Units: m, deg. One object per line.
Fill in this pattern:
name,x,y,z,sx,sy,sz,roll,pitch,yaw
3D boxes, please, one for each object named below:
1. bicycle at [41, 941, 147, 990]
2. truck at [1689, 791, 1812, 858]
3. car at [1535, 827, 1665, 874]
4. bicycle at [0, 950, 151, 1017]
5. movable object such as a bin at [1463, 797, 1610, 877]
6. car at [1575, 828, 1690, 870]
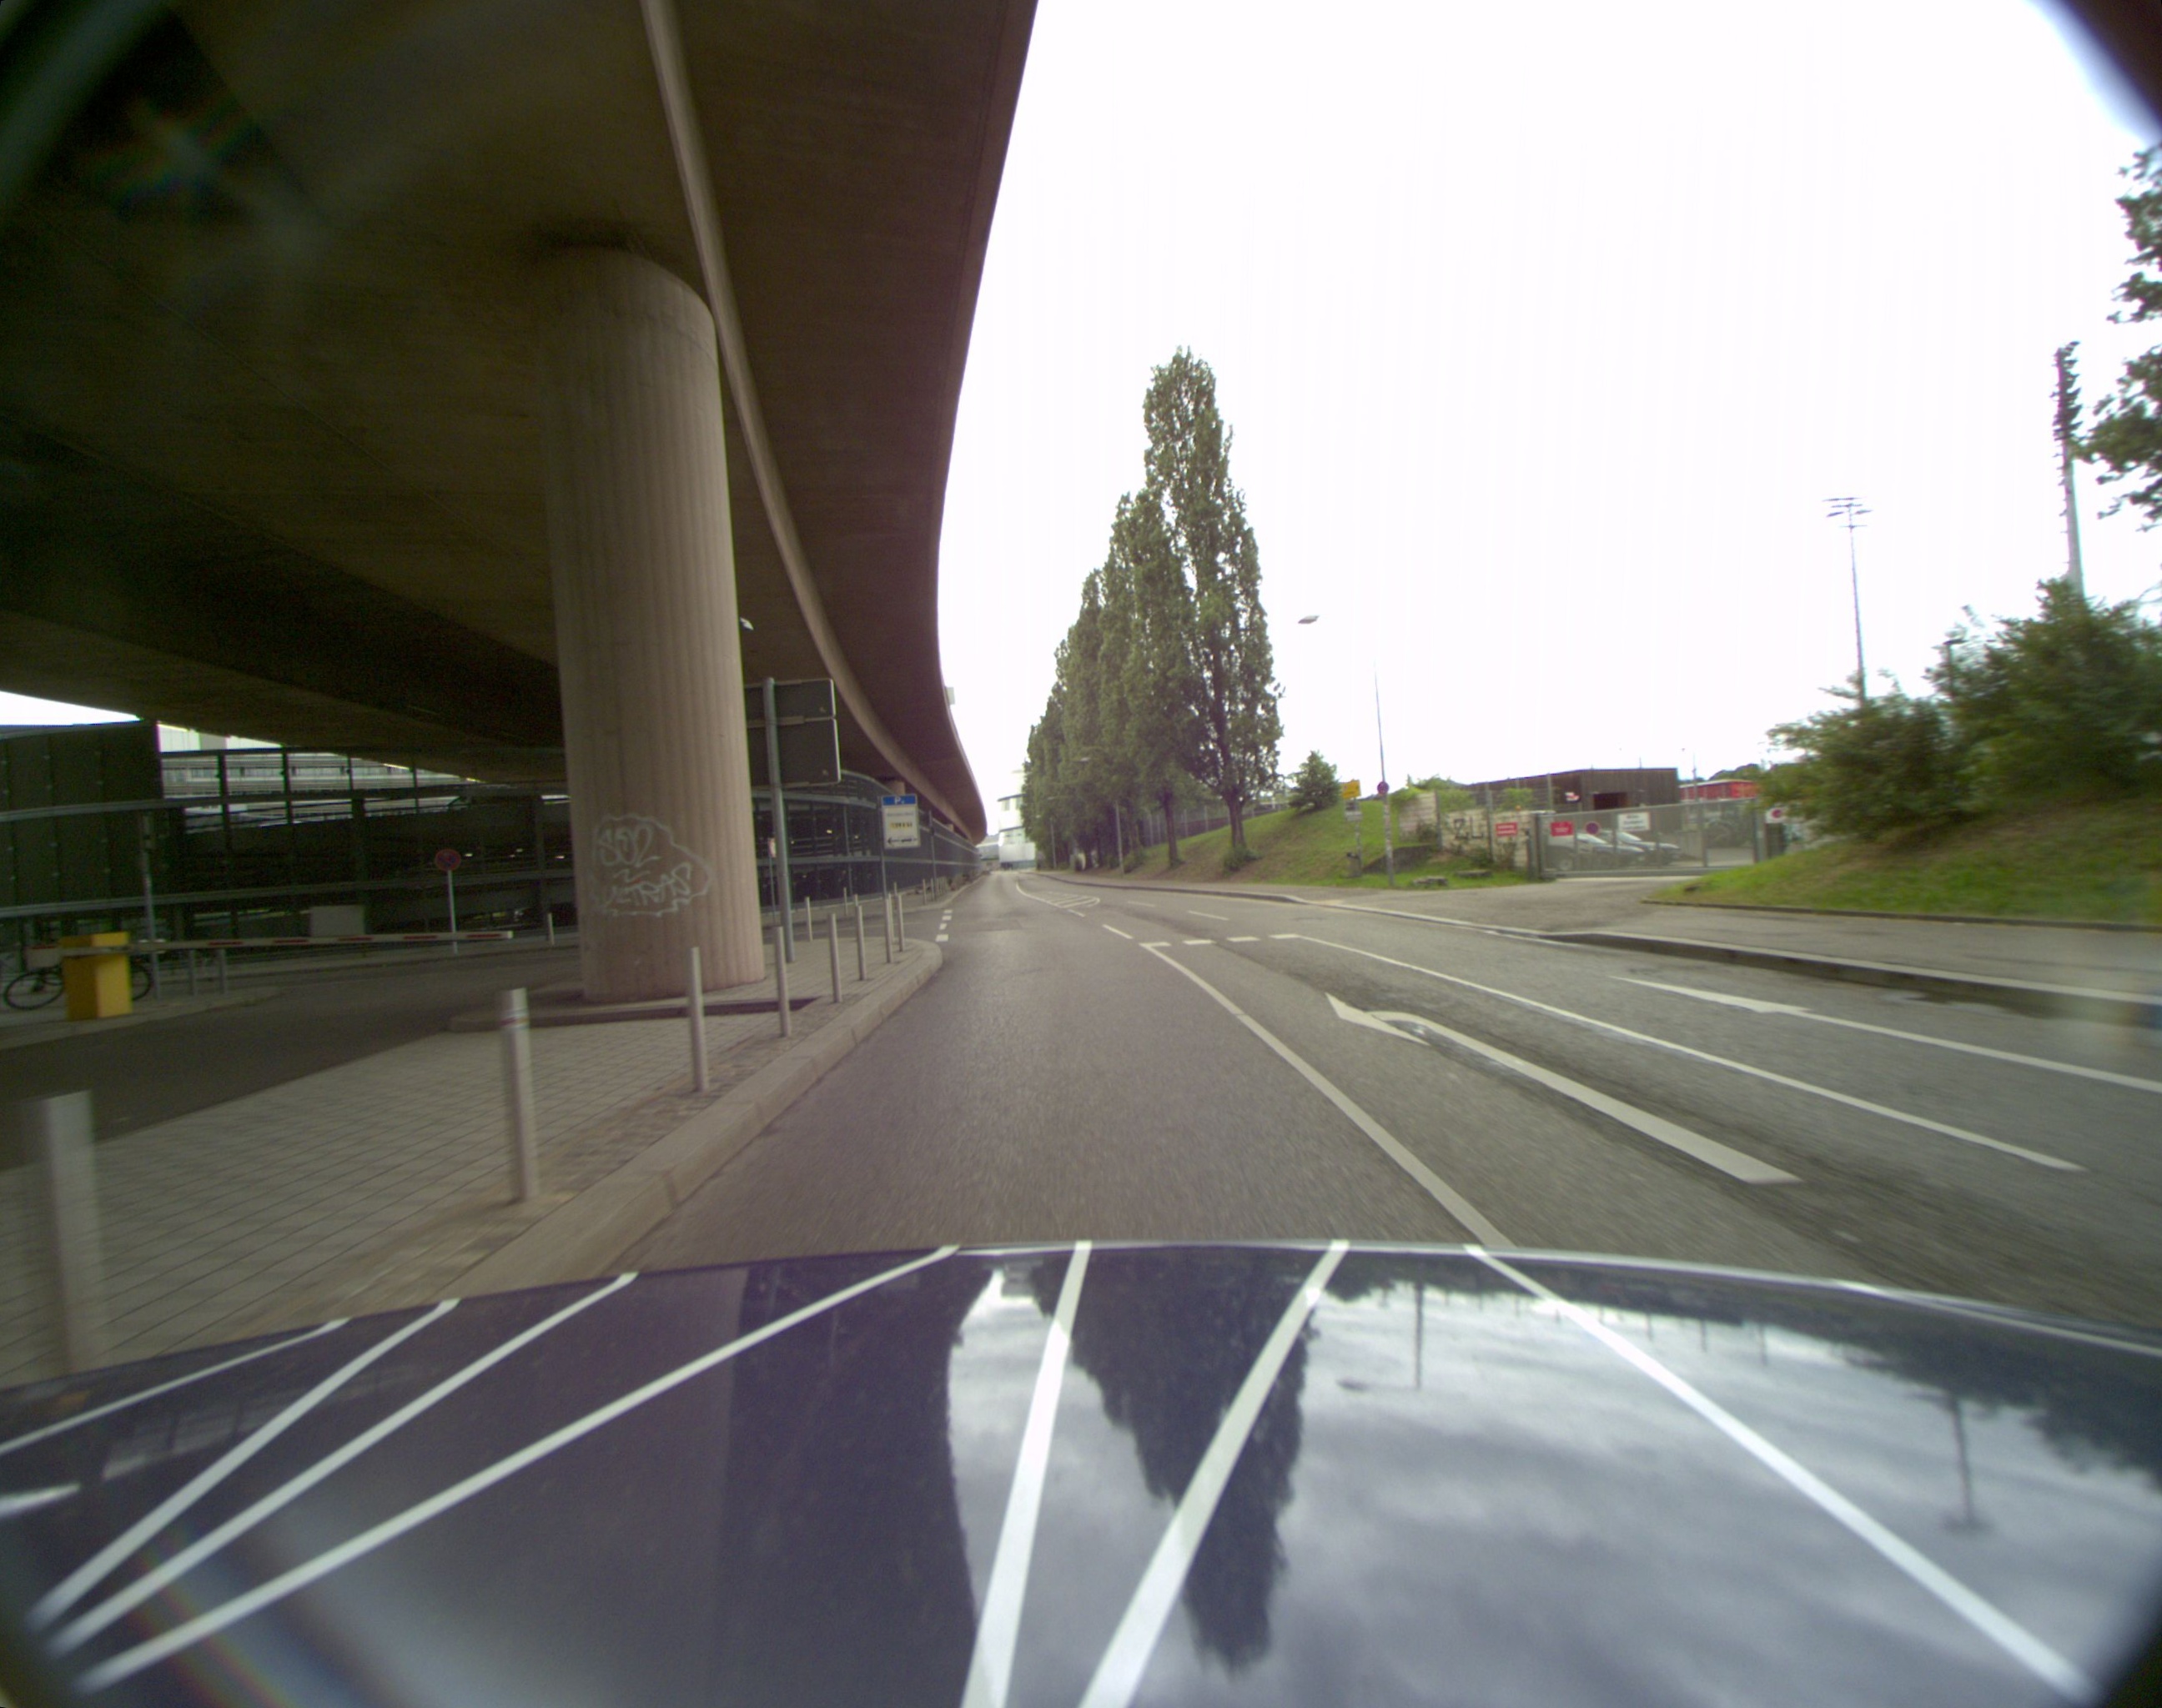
bicycle,-26.429,2.980,20.372,1.789,1.072,0.436,-4,-1,-16
truck,32.663,-1.396,37.179,1.824,2.991,4.096,-3,0,-34
car,19.800,-0.123,29.081,1.860,1.599,3.756,-3,0,-45
bicycle,-17.514,2.227,13.070,2.020,0.920,0.419,-4,-1,-14
movable object such as a bin,16.878,-0.574,28.274,2.031,2.706,4.220,-3,0,-45
car,21.972,-0.177,30.335,1.566,1.513,3.464,-3,0,-45
